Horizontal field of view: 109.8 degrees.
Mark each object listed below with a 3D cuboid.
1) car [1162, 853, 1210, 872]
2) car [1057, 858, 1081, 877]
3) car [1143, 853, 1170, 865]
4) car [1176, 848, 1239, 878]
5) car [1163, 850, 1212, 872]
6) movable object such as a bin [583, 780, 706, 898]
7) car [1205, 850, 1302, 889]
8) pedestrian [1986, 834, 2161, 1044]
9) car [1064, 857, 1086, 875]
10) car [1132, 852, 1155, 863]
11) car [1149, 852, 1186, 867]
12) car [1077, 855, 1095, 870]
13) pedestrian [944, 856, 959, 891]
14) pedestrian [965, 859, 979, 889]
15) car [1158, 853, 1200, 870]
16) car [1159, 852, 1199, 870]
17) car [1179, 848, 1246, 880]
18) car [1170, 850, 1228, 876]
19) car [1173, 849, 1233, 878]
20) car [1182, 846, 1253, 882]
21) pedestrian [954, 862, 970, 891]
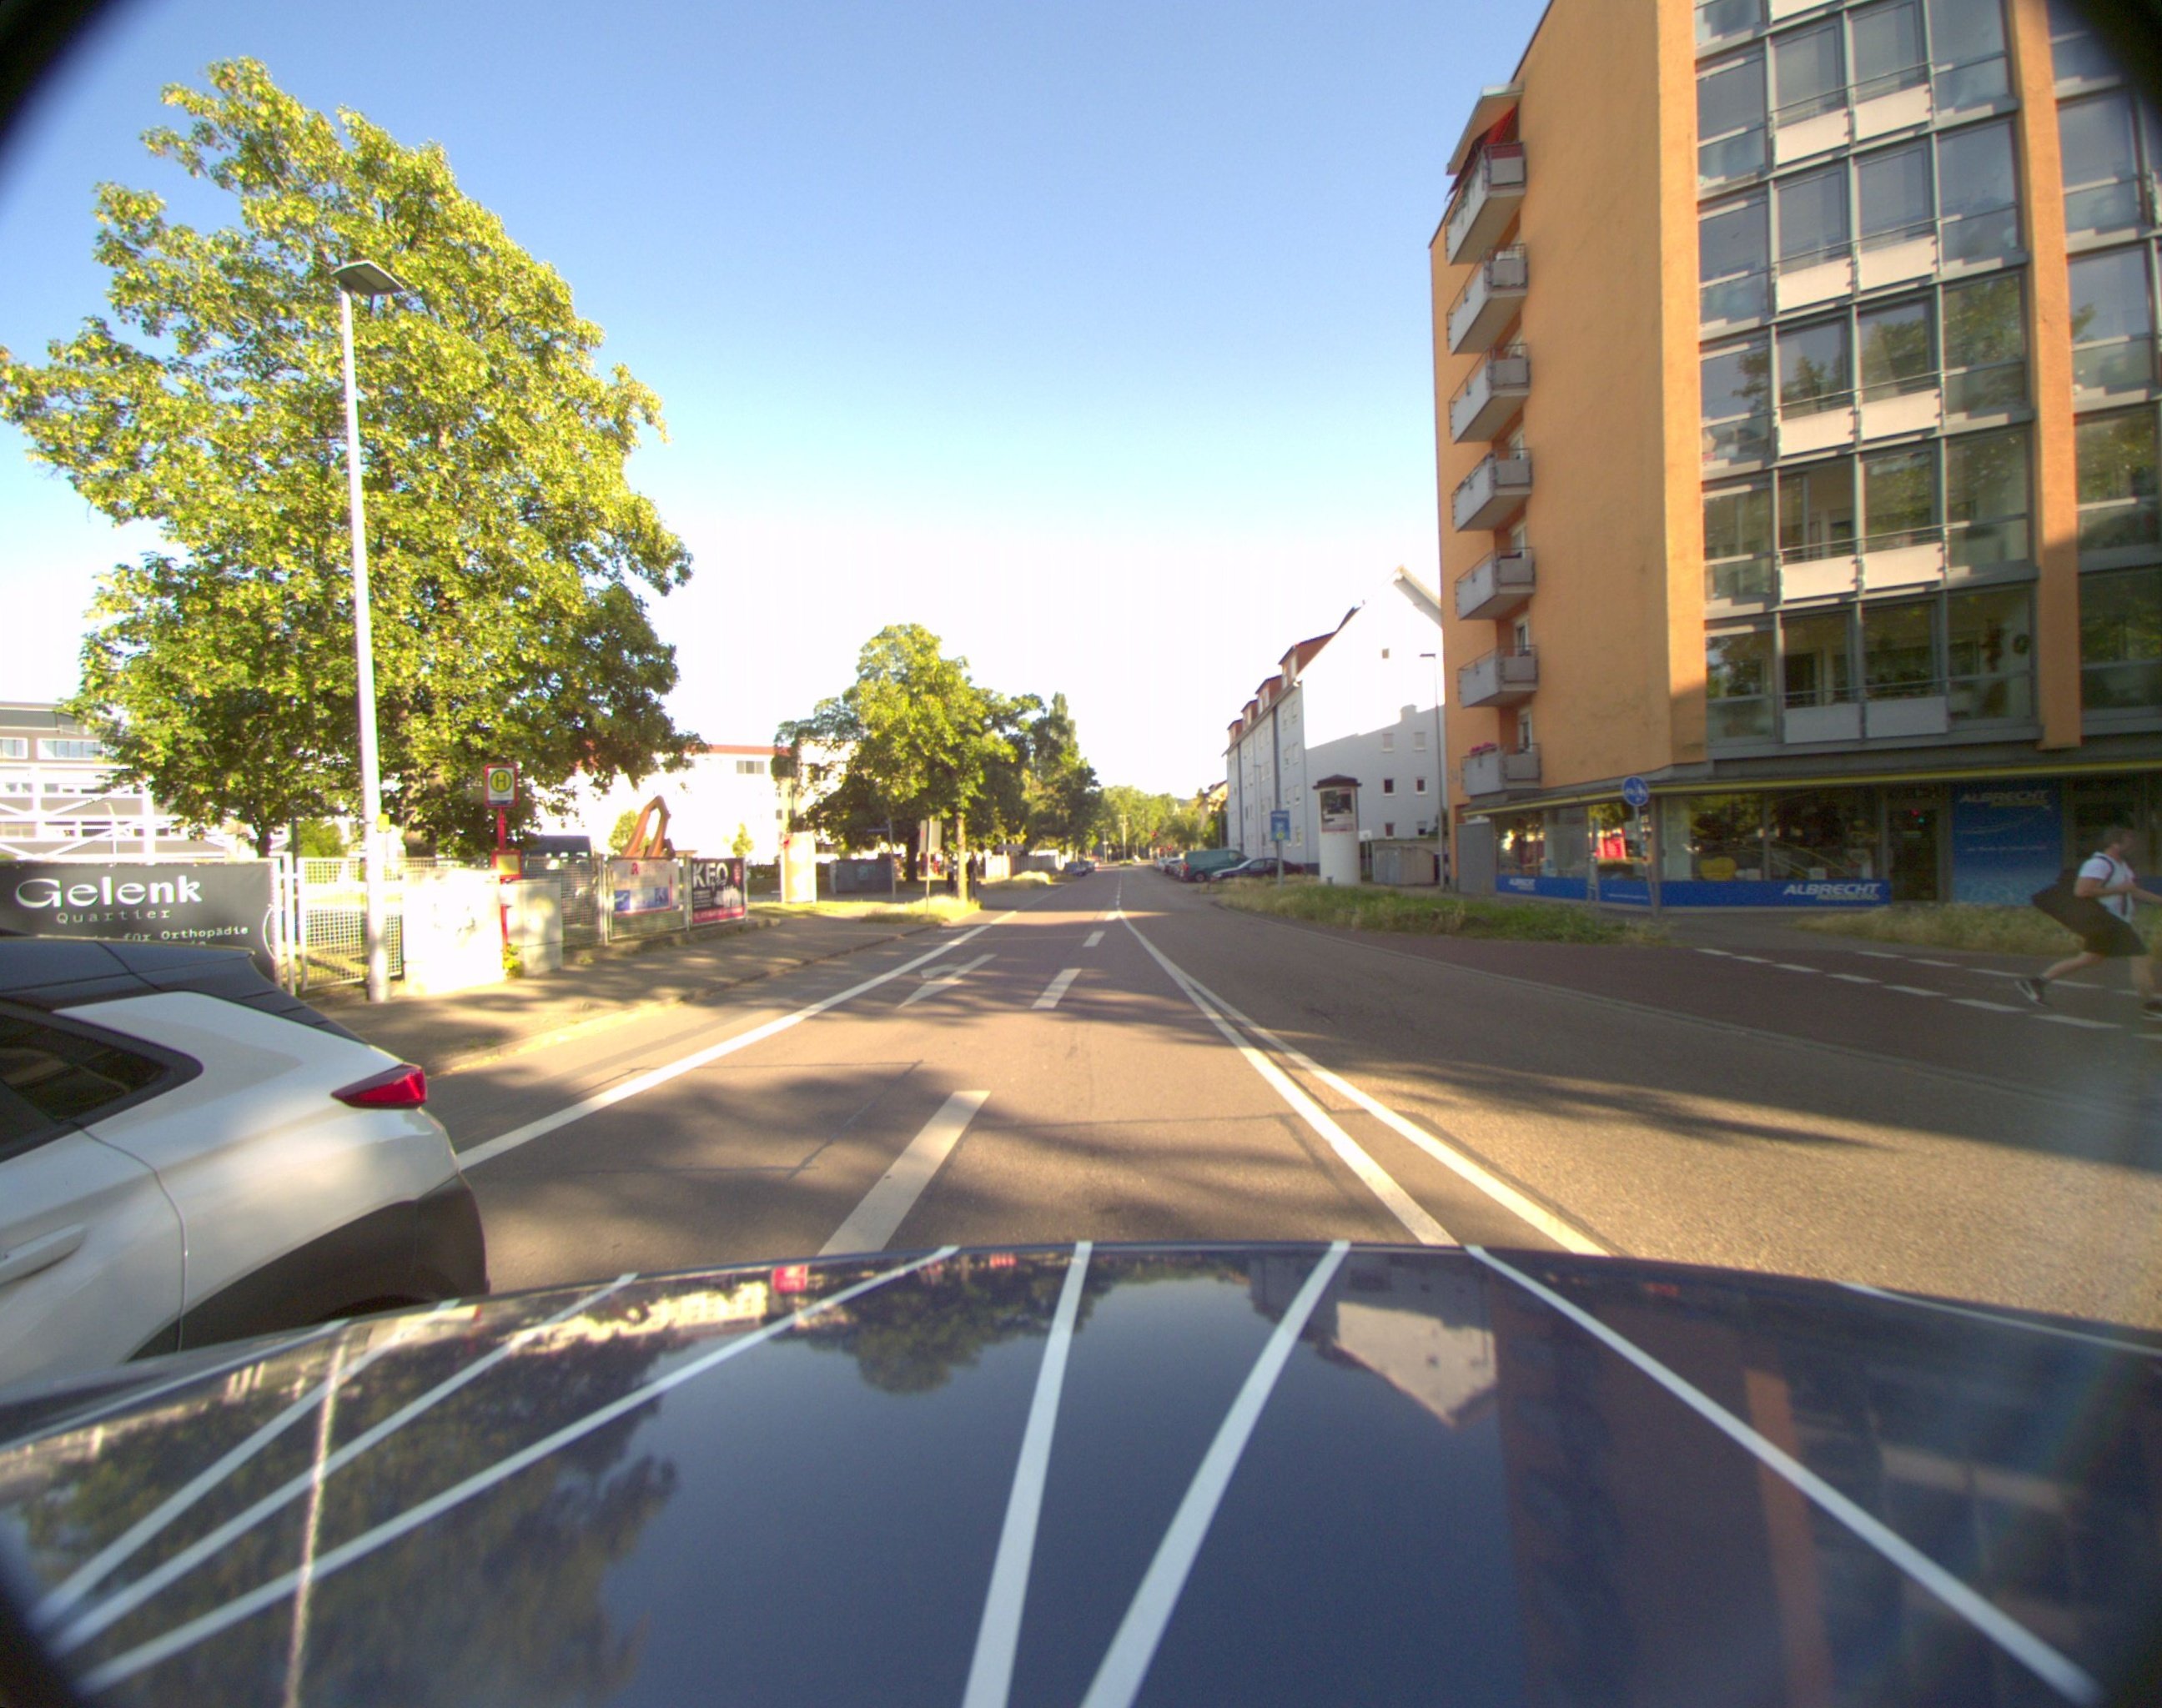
[{"bbox_3d":[9.564,0.769,69.382,4.257,1.564,1.867,-2,1,5],"label":"car"},{"bbox_3d":[-1.093,1.214,69.603,1.998,1.521,3.999,-2,1,1],"label":"car"},{"bbox_3d":[10.462,0.697,105.250,3.538,1.564,1.867,-2,1,5],"label":"car"},{"bbox_3d":[8.497,0.584,51.350,3.995,1.805,2.000,-2,1,5],"label":"car"},{"bbox_3d":[9.271,0.604,66.495,4.117,1.762,1.757,-2,1,5],"label":"car"},{"bbox_3d":[-22.232,-0.705,38.556,3.986,5.447,6.016,-3,1,-42],"label":"movable object such as a bin"},{"bbox_3d":[8.294,0.729,36.881,4.423,1.652,2.001,-2,1,9],"label":"car"},{"bbox_3d":[9.246,0.706,6.893,0.903,1.727,1.086,-3,1,-21],"label":"pedestrian"},{"bbox_3d":[-0.591,1.146,73.951,1.998,1.521,3.999,-2,1,1],"label":"car"},{"bbox_3d":[9.697,0.582,118.230,3.538,1.564,1.867,-2,1,5],"label":"car"},{"bbox_3d":[10.219,0.639,90.197,4.257,1.564,1.867,-2,1,5],"label":"car"},{"bbox_3d":[0.564,0.945,87.984,1.998,1.521,3.999,-2,1,1],"label":"car"},{"bbox_3d":[-6.484,0.974,38.013,0.609,1.727,0.638,-2,1,-5],"label":"pedestrian"},{"bbox_3d":[-6.203,1.129,43.226,0.696,1.659,0.638,-2,1,-11],"label":"pedestrian"},{"bbox_3d":[10.303,0.751,79.939,4.257,1.564,1.867,-2,1,5],"label":"car"},{"bbox_3d":[10.255,0.720,80.074,4.071,1.741,1.899,-2,1,5],"label":"car"},{"bbox_3d":[8.353,0.620,48.594,3.995,1.805,2.000,-2,1,5],"label":"car"},{"bbox_3d":[8.744,0.659,56.445,4.071,1.741,1.899,-2,1,5],"label":"car"},{"bbox_3d":[8.567,0.664,53.701,4.059,1.805,1.937,-2,1,5],"label":"car"},{"bbox_3d":[8.191,0.590,45.946,3.996,1.936,2.000,-2,1,4],"label":"car"},{"bbox_3d":[-5.874,1.105,37.502,0.609,1.426,0.639,-2,1,1],"label":"pedestrian"}]
